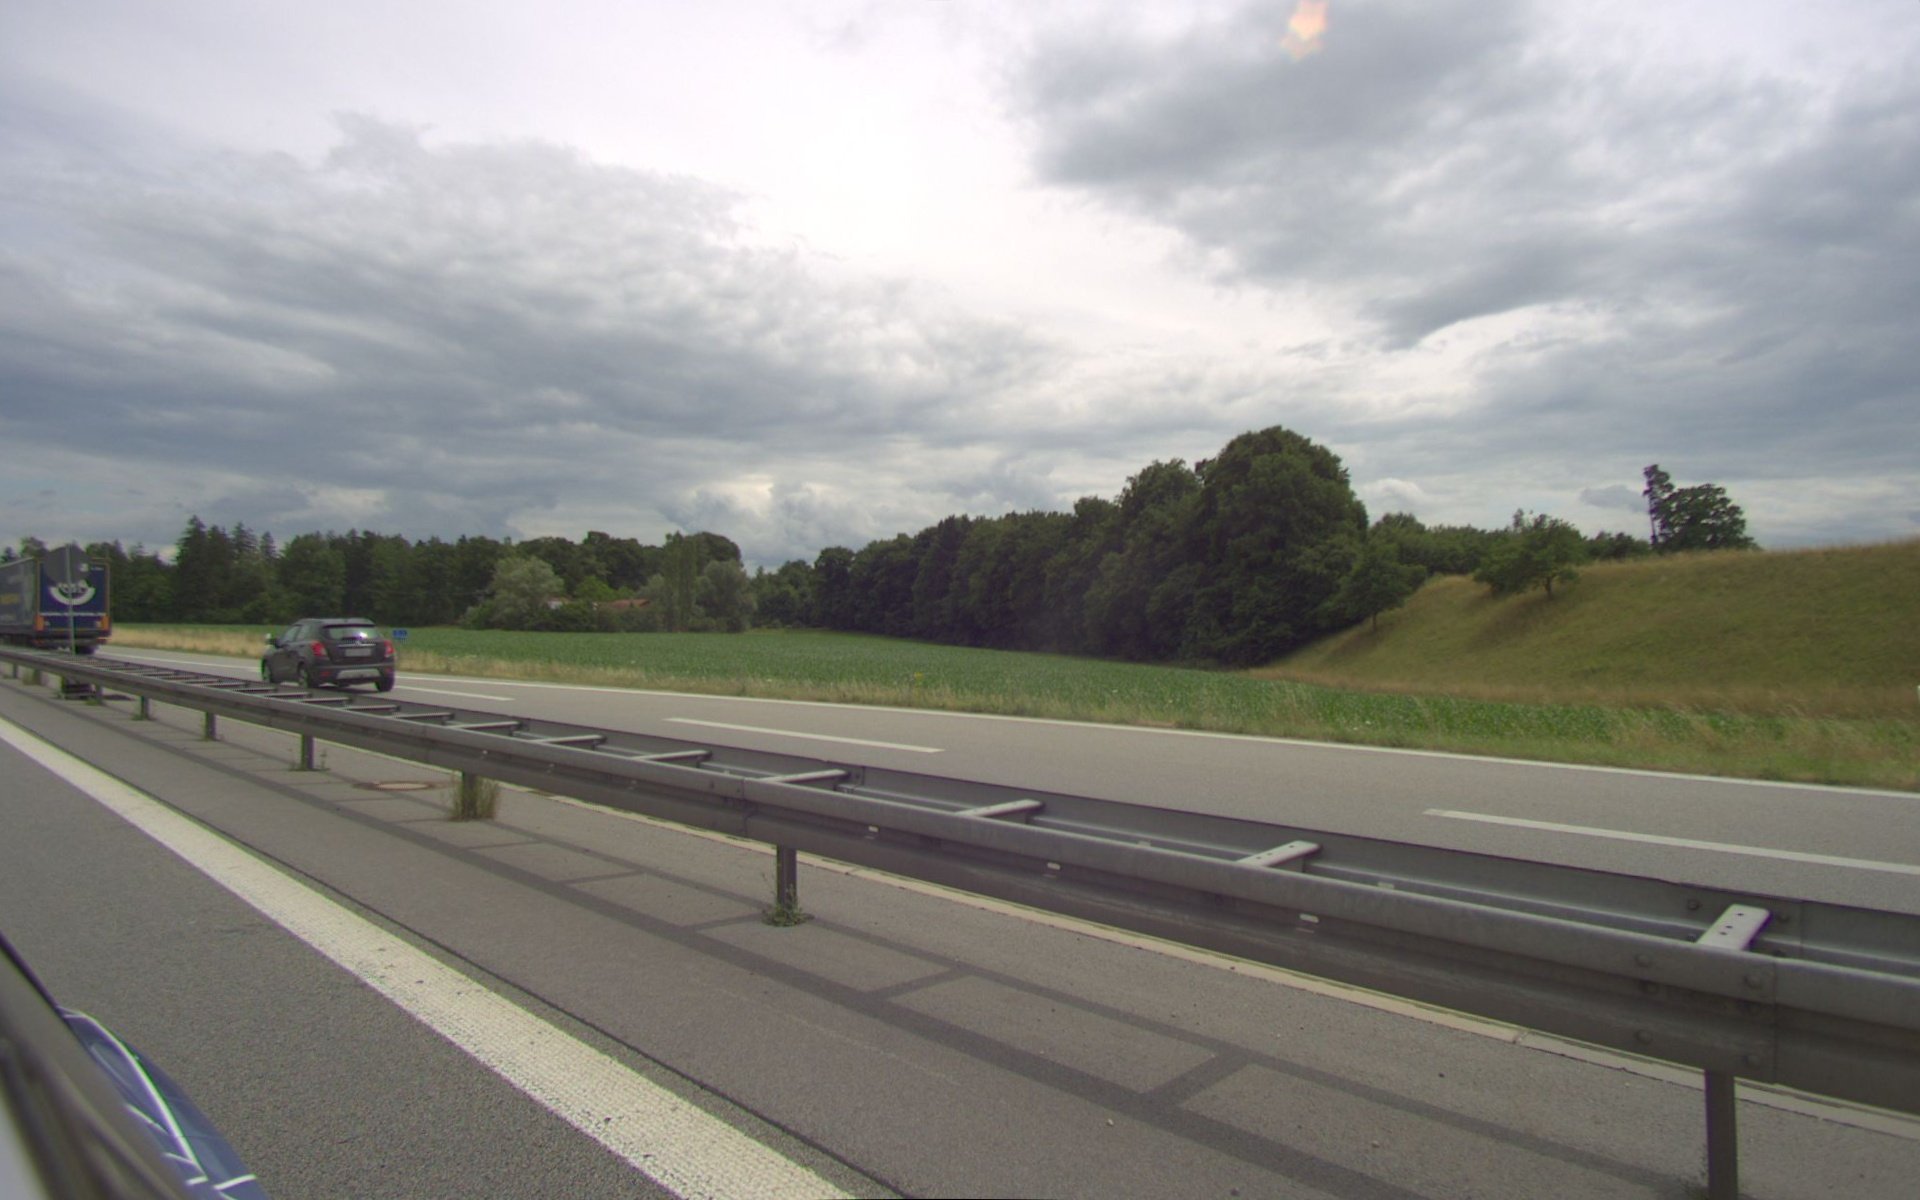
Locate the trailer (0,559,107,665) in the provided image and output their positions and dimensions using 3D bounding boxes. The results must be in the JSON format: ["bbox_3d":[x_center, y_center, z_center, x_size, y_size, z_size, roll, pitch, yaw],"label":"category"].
[{"bbox_3d":[-41.627,0.511,45.680,13.557,4.204,2.769,0,0,41],"label":"trailer"}]

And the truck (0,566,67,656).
[{"bbox_3d":[-46.820,0.517,50.273,7.225,4.173,2.770,0,0,41],"label":"truck"}]

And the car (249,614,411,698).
[{"bbox_3d":[-14.409,1.190,23.063,4.231,1.696,1.973,0,0,41],"label":"car"}]
